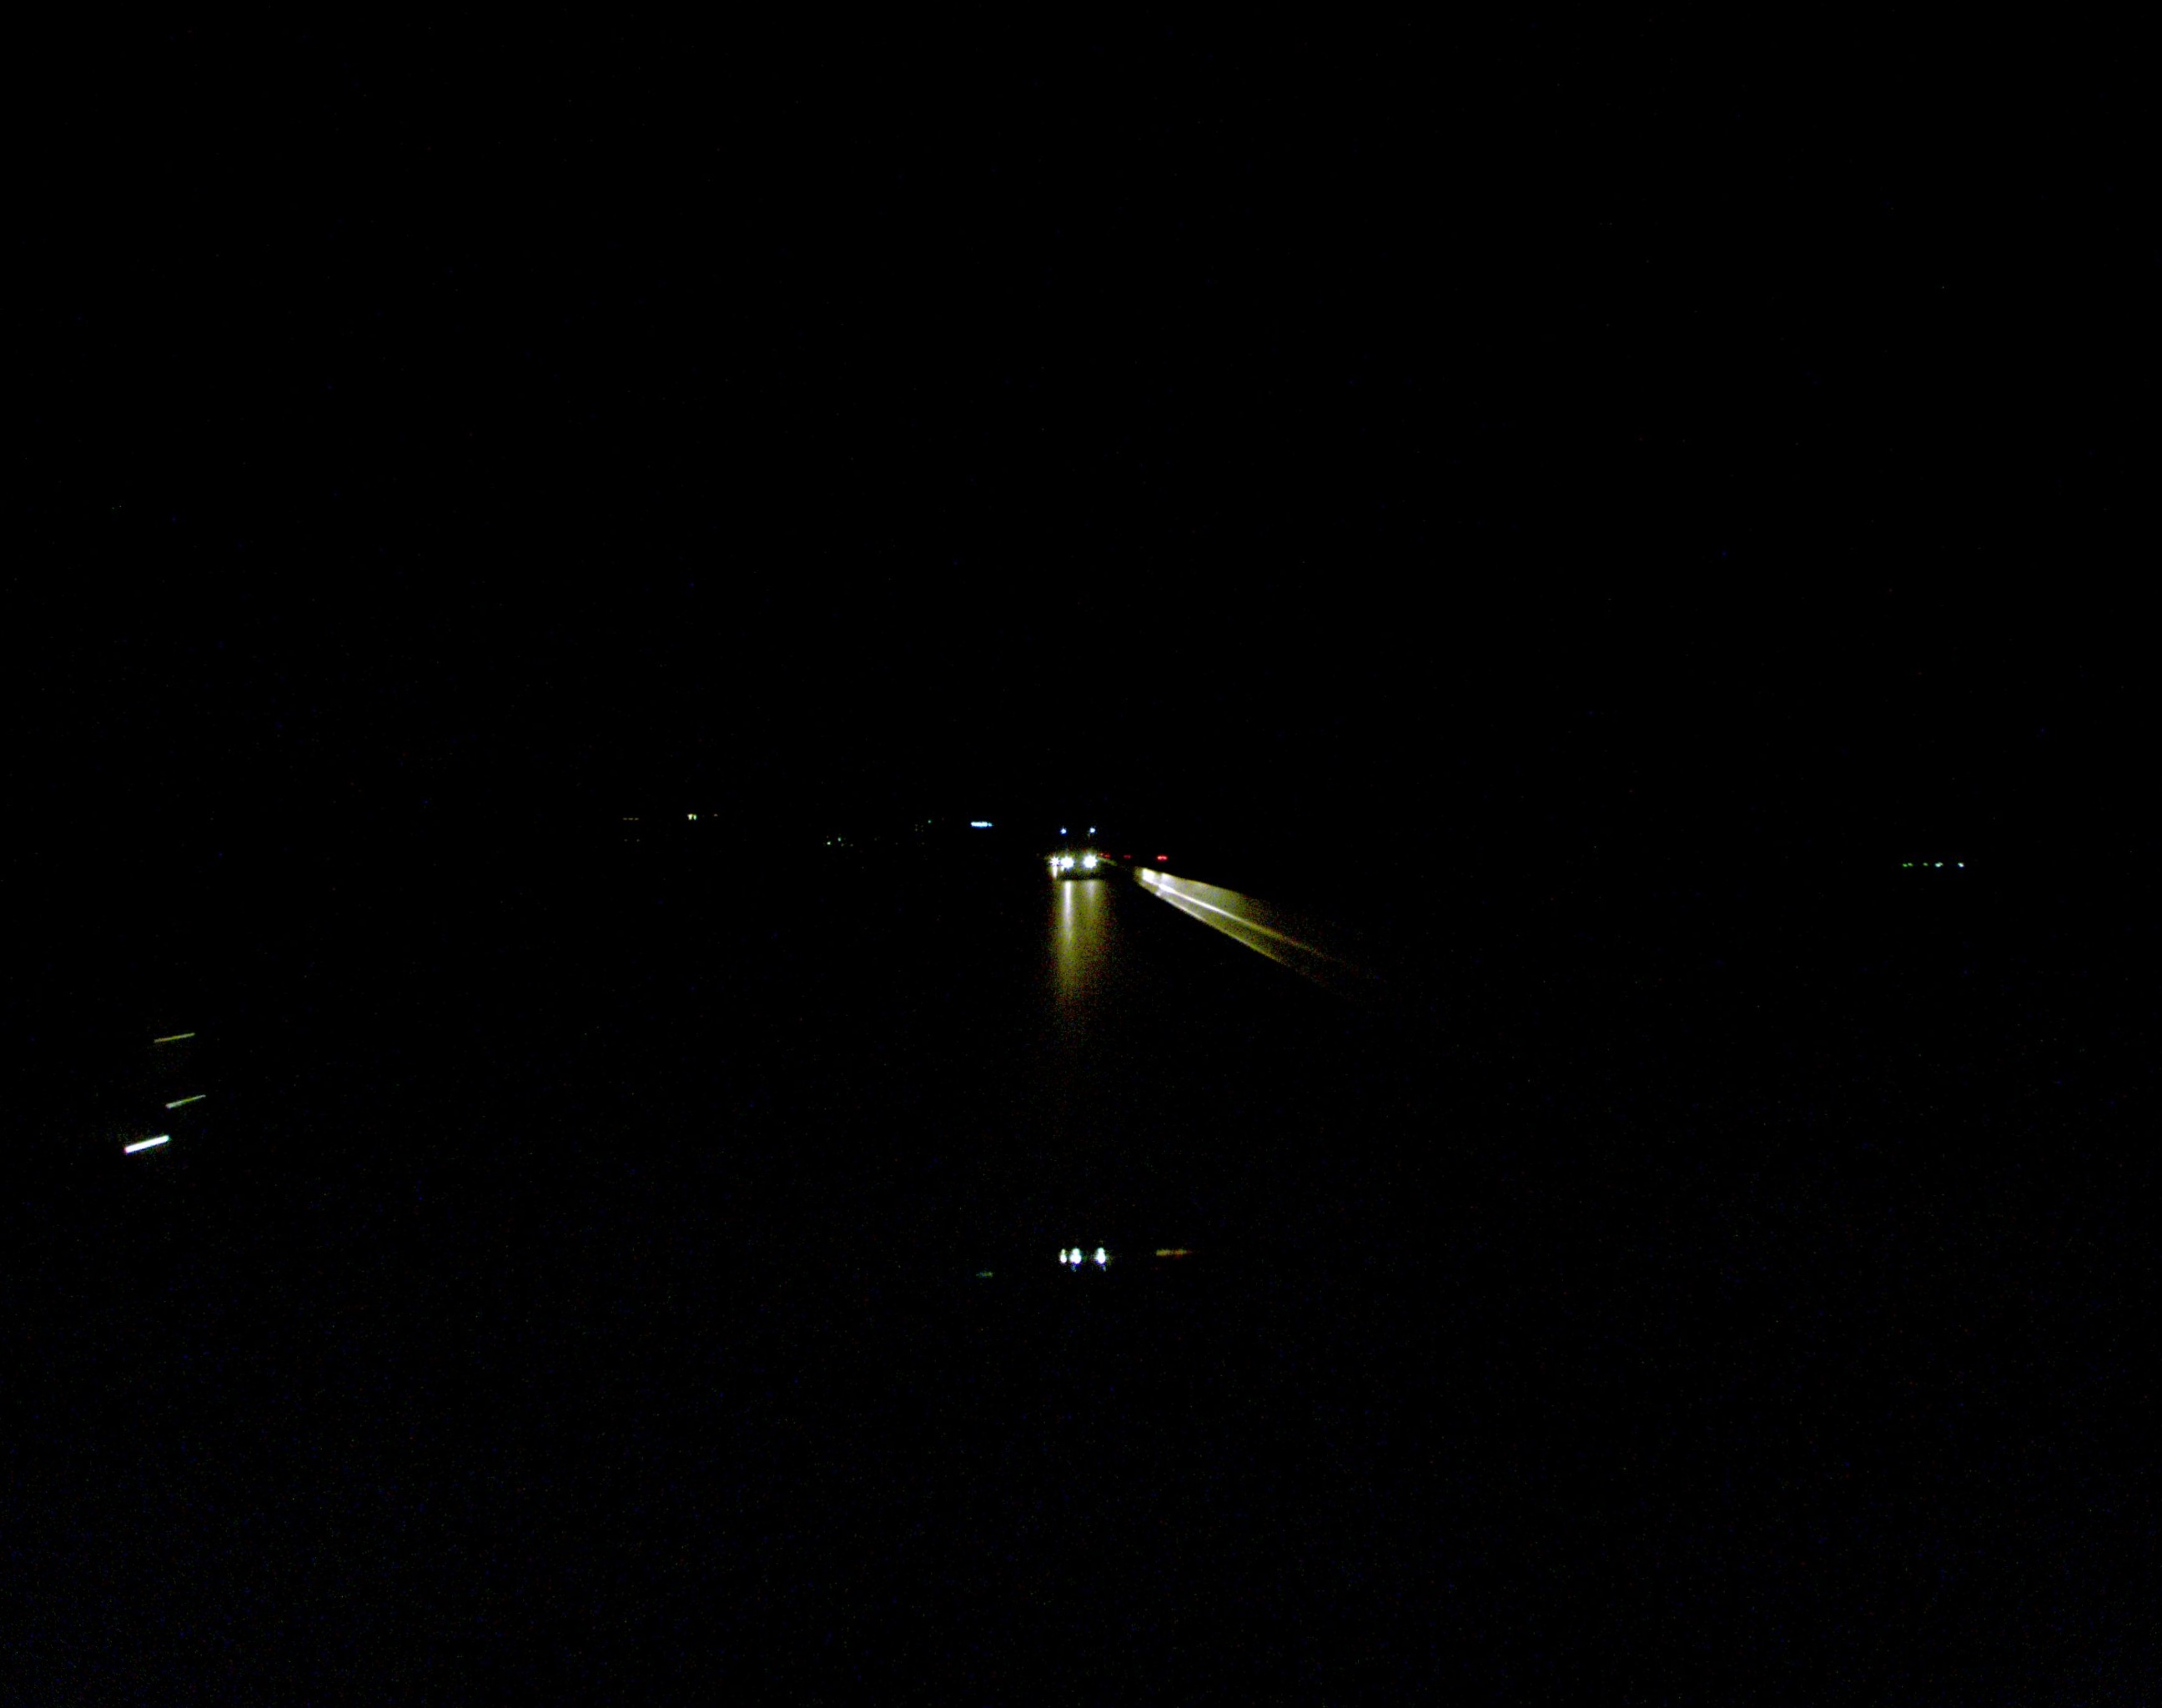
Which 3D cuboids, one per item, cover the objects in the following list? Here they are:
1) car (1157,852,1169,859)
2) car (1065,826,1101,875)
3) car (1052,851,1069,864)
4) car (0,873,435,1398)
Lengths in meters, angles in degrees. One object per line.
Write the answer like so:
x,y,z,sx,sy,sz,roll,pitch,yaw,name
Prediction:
17.645,0.311,163.763,1.999,1.411,4.982,2,0,-1,car
0.174,-0.281,53.954,2.255,3.205,6.878,-1,1,1,car
-2.642,0.447,99.064,1.998,1.576,4.127,-2,1,1,car
-4.197,0.905,1.652,1.650,1.587,4.510,-1,0,1,car
